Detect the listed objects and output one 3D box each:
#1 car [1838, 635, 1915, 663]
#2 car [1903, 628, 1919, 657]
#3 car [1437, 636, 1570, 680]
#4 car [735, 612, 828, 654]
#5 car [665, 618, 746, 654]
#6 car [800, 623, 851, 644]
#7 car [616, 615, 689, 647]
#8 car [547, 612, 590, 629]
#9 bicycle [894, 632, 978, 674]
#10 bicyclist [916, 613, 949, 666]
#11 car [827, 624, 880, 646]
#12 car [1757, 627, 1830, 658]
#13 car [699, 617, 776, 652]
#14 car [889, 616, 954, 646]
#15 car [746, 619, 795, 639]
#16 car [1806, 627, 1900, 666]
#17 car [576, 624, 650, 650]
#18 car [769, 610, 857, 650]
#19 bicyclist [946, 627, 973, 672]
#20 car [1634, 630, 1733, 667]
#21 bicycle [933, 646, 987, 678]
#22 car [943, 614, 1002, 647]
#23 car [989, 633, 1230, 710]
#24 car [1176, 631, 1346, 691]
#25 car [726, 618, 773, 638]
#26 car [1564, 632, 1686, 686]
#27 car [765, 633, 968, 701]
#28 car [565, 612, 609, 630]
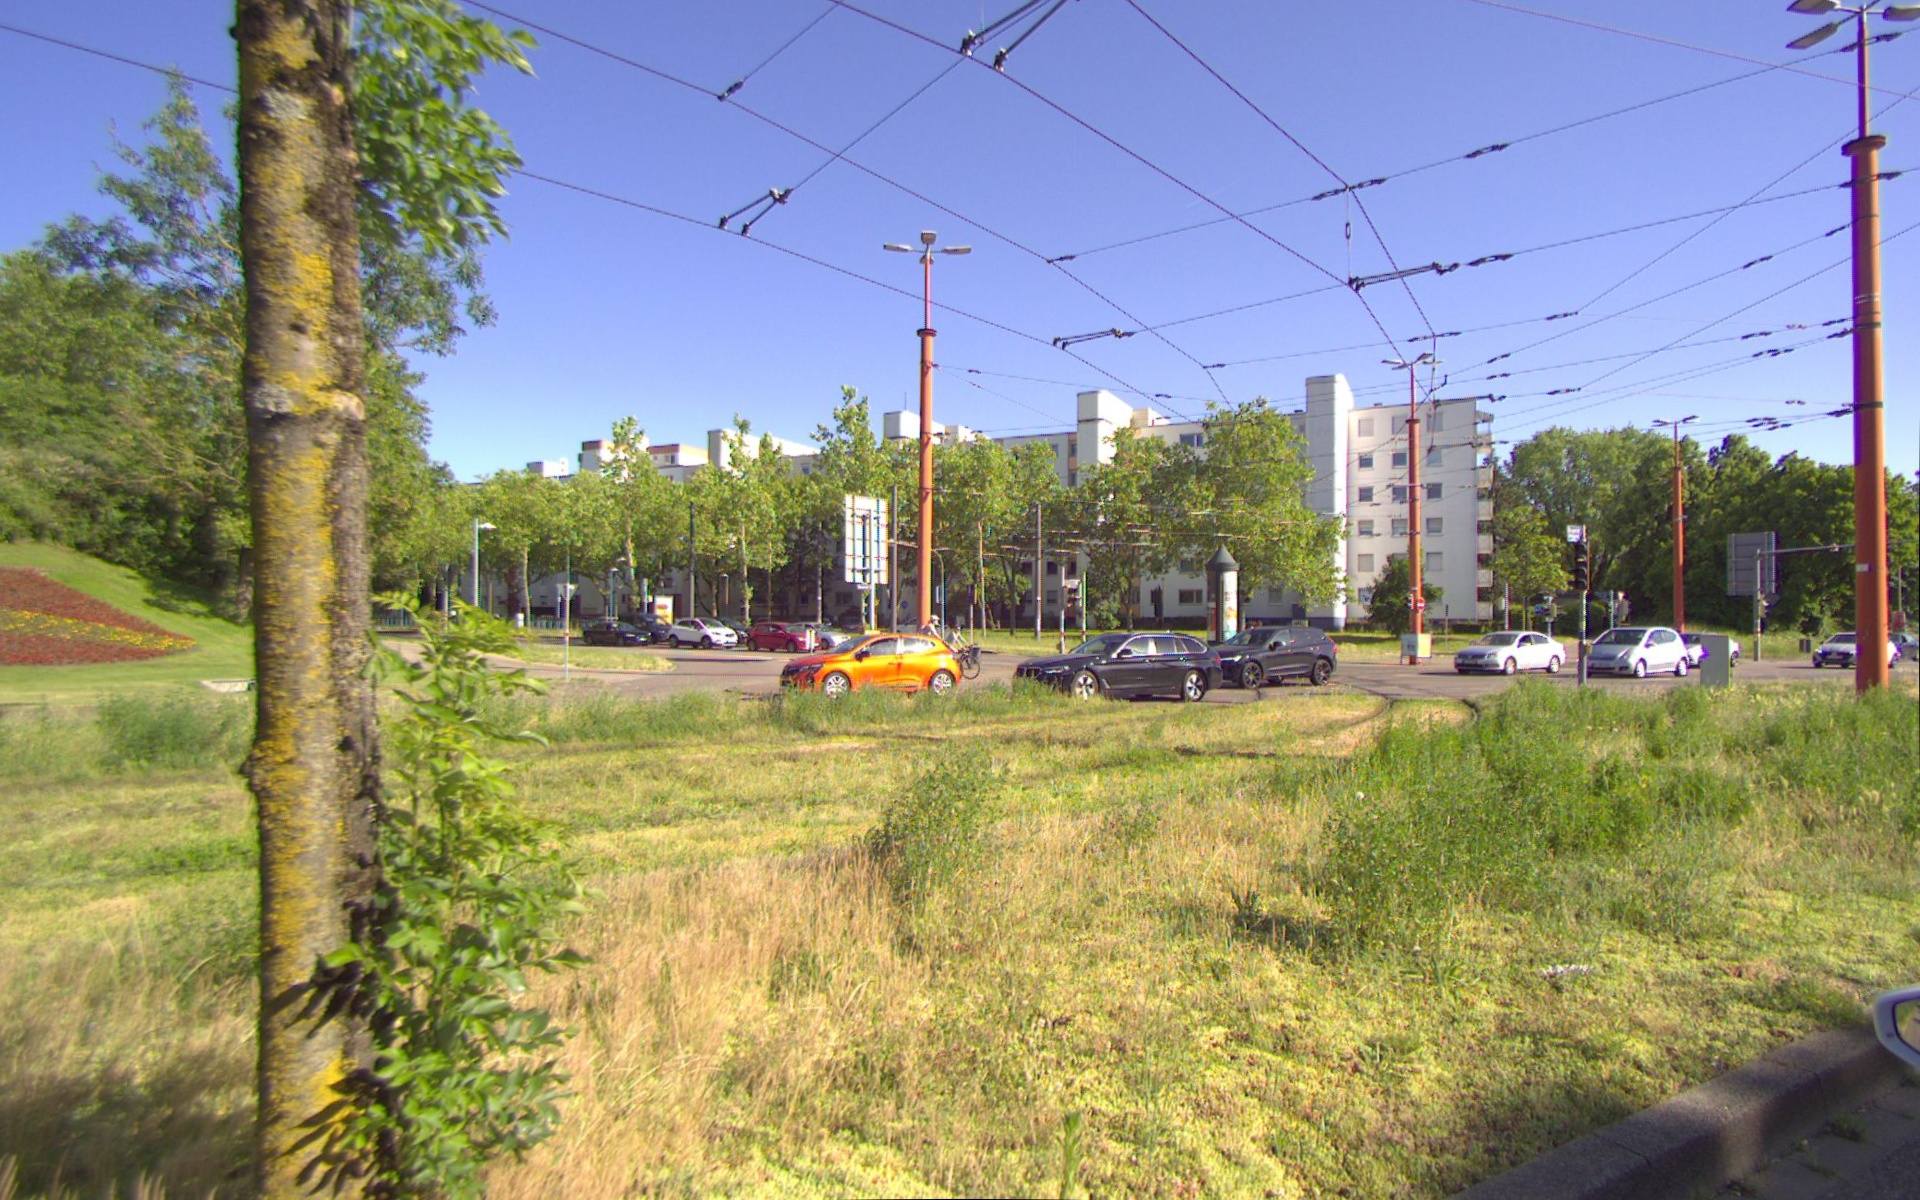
[{"bbox_3d":[46.499,2.468,50.934,3.985,1.359,1.852,2,-2,-31],"label":"car"},{"bbox_3d":[55.684,2.425,57.281,3.956,1.597,1.866,2,0,-32],"label":"car"},{"bbox_3d":[18.812,1.974,34.704,4.640,1.451,1.984,2,-2,-31],"label":"car"},{"bbox_3d":[-8.843,1.610,49.688,4.198,1.926,1.997,1,0,30],"label":"car"},{"bbox_3d":[-13.496,1.886,53.248,3.928,1.773,1.909,1,0,30],"label":"car"},{"bbox_3d":[-11.183,2.782,83.400,3.936,1.617,1.889,2,0,-17],"label":"car"},{"bbox_3d":[-18.109,1.794,59.076,3.928,1.773,1.909,1,0,30],"label":"car"},{"bbox_3d":[-39.729,2.050,102.013,3.936,1.617,1.889,2,0,-17],"label":"car"},{"bbox_3d":[-0.679,1.482,28.495,2.313,1.095,0.474,1,0,15],"label":"bicycle"},{"bbox_3d":[-0.773,1.105,28.537,0.742,1.449,0.752,1,0,14],"label":"bicyclist"},{"bbox_3d":[-8.638,2.826,81.496,3.936,1.617,1.889,2,0,-17],"label":"car"},{"bbox_3d":[46.498,2.356,56.013,3.953,1.644,1.903,2,0,-30],"label":"car"},{"bbox_3d":[-12.429,1.904,56.046,3.928,1.773,1.909,1,0,30],"label":"car"},{"bbox_3d":[-2.773,2.213,72.201,4.328,2.040,1.997,0,-1,29],"label":"car"},{"bbox_3d":[-16.389,2.473,86.794,3.936,1.617,1.889,2,0,-17],"label":"car"},{"bbox_3d":[36.246,1.868,40.769,4.132,1.492,1.582,1,-2,-29],"label":"car"},{"bbox_3d":[-19.487,2.049,56.395,3.928,1.339,1.733,1,0,30],"label":"car"},{"bbox_3d":[-7.698,1.544,52.639,4.198,1.926,1.997,1,0,30],"label":"car"},{"bbox_3d":[-0.019,1.511,30.932,0.686,1.340,0.549,1,0,13],"label":"bicyclist"},{"bbox_3d":[30.003,1.993,41.636,4.355,1.392,1.981,2,-1,-34],"label":"car"},{"bbox_3d":[0.005,1.902,30.912,1.593,0.894,0.368,1,0,13],"label":"bicycle"},{"bbox_3d":[0.903,2.239,74.576,3.936,2.341,1.889,1,0,-17],"label":"car"},{"bbox_3d":[3.249,1.476,21.573,4.930,1.428,1.985,2,-1,-29],"label":"car"},{"bbox_3d":[8.517,1.681,28.310,4.576,1.500,1.984,2,0,-30],"label":"car"},{"bbox_3d":[-18.516,2.436,88.376,3.936,1.617,1.889,2,0,-17],"label":"car"},{"bbox_3d":[21.141,1.842,31.917,3.713,1.629,1.755,2,-2,-30],"label":"car"},{"bbox_3d":[-2.010,1.433,22.027,4.129,1.315,1.649,2,-1,-31],"label":"car"},{"bbox_3d":[-36.992,2.095,99.813,3.936,1.617,1.889,2,0,-17],"label":"car"}]
